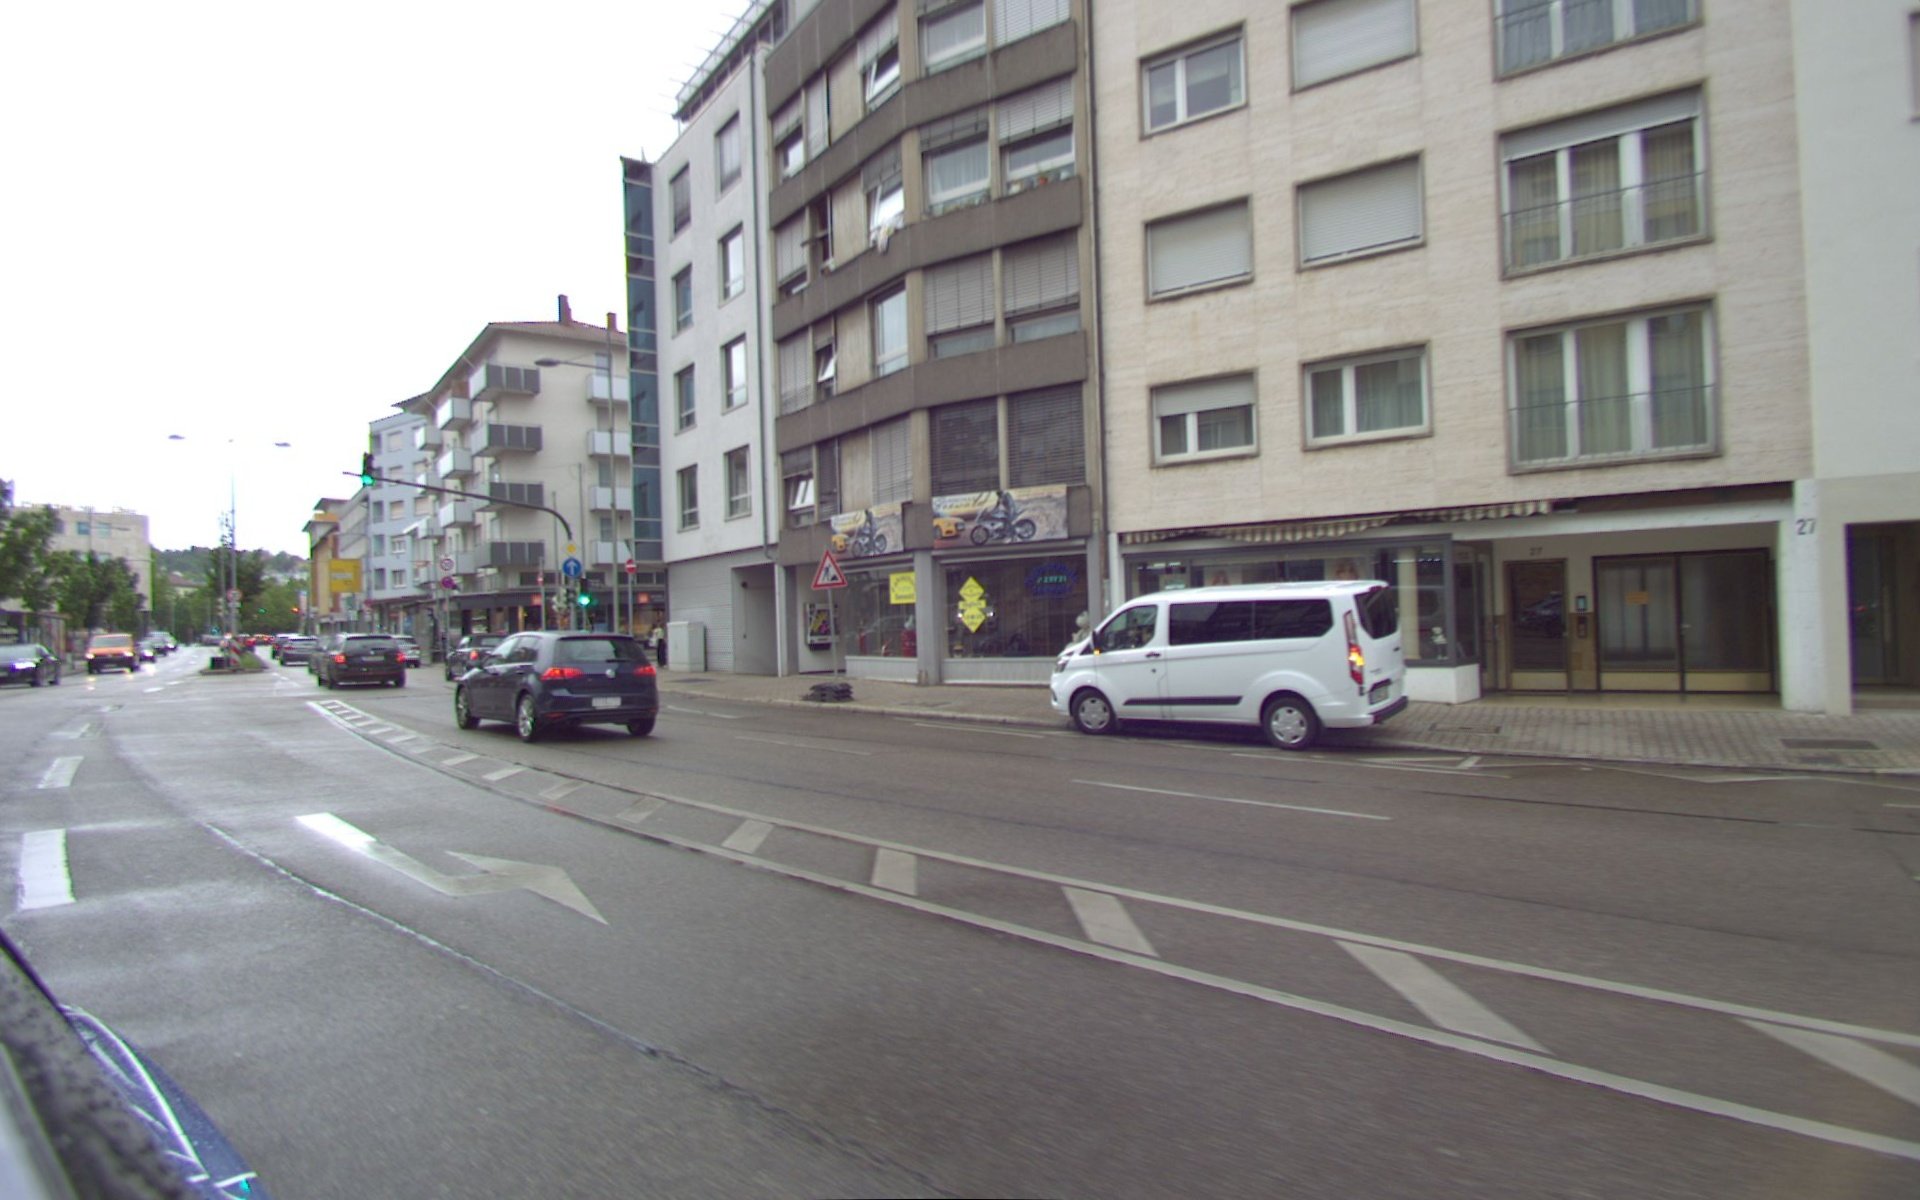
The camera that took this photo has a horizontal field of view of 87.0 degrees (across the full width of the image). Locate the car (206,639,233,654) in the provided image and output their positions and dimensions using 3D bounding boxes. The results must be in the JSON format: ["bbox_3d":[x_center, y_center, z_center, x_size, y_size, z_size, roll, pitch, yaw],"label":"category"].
[{"bbox_3d":[-73.237,4.573,100.057,1.821,1.428,4.623,3,-4,-39],"label":"car"}]

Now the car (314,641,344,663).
[{"bbox_3d":[-45.924,3.752,73.578,1.748,1.535,4.295,0,-2,-34],"label":"car"}]

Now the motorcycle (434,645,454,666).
[{"bbox_3d":[-30.190,3.240,59.192,0.659,1.096,2.201,-3,0,-37],"label":"motorcycle"}]

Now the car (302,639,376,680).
[{"bbox_3d":[-23.129,2.168,37.615,1.801,1.376,4.612,1,-2,-38],"label":"car"}]

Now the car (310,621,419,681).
[{"bbox_3d":[-16.223,1.375,27.464,1.958,1.470,4.494,2,-3,-38],"label":"car"}]

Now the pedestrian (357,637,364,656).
[{"bbox_3d":[-53.508,4.115,90.324,0.505,1.701,0.532,1,-1,-36],"label":"pedestrian"}]

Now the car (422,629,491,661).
[{"bbox_3d":[-34.213,3.027,68.815,3.934,2.070,1.899,0,-2,-35],"label":"car"}]

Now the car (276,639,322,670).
[{"bbox_3d":[-33.944,2.775,51.931,1.828,1.485,4.659,1,-3,-35],"label":"car"}]

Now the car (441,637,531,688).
[{"bbox_3d":[-14.002,1.804,29.798,1.699,1.410,3.602,2,-3,-37],"label":"car"}]

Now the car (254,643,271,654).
[{"bbox_3d":[-88.740,6.160,128.789,1.676,1.452,3.848,2,-4,-36],"label":"car"}]

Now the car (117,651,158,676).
[{"bbox_3d":[-55.340,4.246,68.125,1.814,1.453,4.010,-3,0,-35],"label":"car"}]

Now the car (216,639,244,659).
[{"bbox_3d":[-61.123,4.129,84.770,1.822,1.606,4.100,0,-2,-35],"label":"car"}]

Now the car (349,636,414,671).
[{"bbox_3d":[-26.399,2.424,46.105,1.903,1.485,4.613,3,-4,-37],"label":"car"}]

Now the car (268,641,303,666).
[{"bbox_3d":[-44.685,3.513,67.000,1.805,1.555,4.293,0,-3,-36],"label":"car"}]

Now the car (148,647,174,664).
[{"bbox_3d":[-85.281,5.936,108.045,1.967,1.620,4.009,-3,0,-36],"label":"car"}]

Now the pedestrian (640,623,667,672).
[{"bbox_3d":[-10.211,1.577,33.744,0.617,1.620,0.832,-1,-2,1],"label":"pedestrian"}]

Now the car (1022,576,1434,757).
[{"bbox_3d":[3.553,0.775,14.081,5.126,2.029,2.097,-1,2,41],"label":"car"}]

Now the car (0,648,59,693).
[{"bbox_3d":[-30.787,2.302,32.727,1.782,1.349,4.289,0,-4,-33],"label":"car"}]

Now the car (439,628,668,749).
[{"bbox_3d":[-5.900,1.191,14.457,1.664,1.484,4.003,3,-4,-43],"label":"car"}]

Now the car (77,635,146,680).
[{"bbox_3d":[-43.963,2.909,52.546,2.163,2.102,5.948,-1,-1,-35],"label":"car"}]
